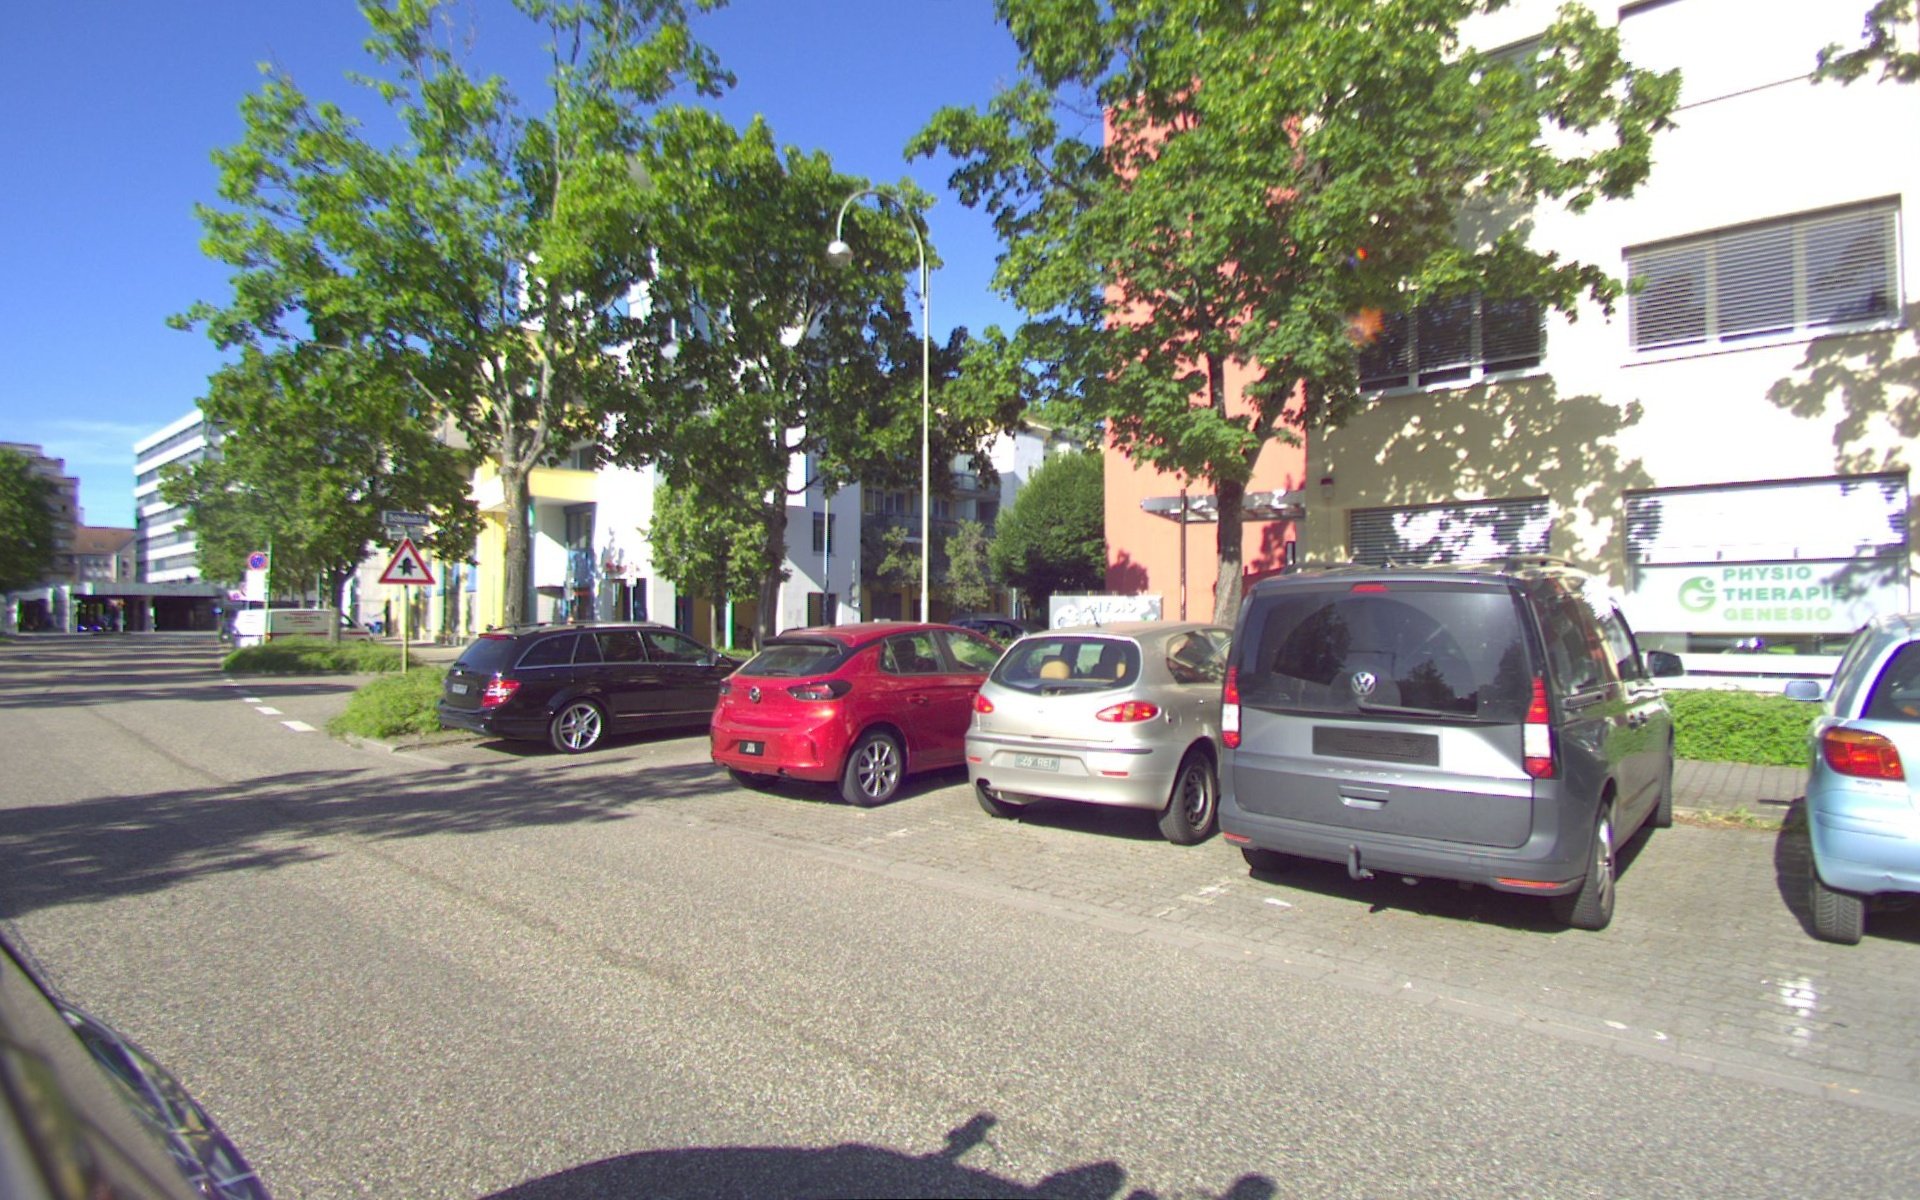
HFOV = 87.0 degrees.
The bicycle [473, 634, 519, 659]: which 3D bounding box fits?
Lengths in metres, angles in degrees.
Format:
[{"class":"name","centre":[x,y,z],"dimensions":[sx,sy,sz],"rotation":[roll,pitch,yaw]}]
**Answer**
[{"class":"bicycle","centre":[-21.236,2.117,46.320],"dimensions":[1.774,1.106,0.703],"rotation":[2,-3,-36]}]

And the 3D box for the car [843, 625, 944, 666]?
[{"class":"car","centre":[-2.813,1.916,43.579],"dimensions":[1.999,1.606,4.191],"rotation":[-3,-2,40]}]

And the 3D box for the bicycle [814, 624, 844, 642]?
[{"class":"bicycle","centre":[-6.481,1.639,50.245],"dimensions":[0.287,0.878,1.780],"rotation":[-1,-2,39]}]

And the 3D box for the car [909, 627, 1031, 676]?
[{"class":"car","centre":[0.369,1.690,33.494],"dimensions":[1.935,1.461,3.954],"rotation":[-5,-4,40]}]

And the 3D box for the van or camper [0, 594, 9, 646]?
[{"class":"van or camper","centre":[-58.134,0.984,57.258],"dimensions":[5.904,3.007,2.676],"rotation":[5,-4,-38]}]

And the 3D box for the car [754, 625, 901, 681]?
[{"class":"car","centre":[-3.683,1.484,28.642],"dimensions":[1.802,1.458,3.941],"rotation":[-5,-4,40]}]

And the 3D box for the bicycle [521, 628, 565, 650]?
[{"class":"bicycle","centre":[-17.780,1.668,43.189],"dimensions":[0.490,0.878,1.783],"rotation":[-1,-1,34]}]

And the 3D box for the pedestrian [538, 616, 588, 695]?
[{"class":"pedestrian","centre":[-8.938,1.233,22.796],"dimensions":[1.022,1.739,0.649],"rotation":[-1,-3,45]}]

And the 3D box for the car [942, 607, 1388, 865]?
[{"class":"car","centre":[1.793,0.817,7.916],"dimensions":[1.738,1.434,3.851],"rotation":[-2,0,41]}]

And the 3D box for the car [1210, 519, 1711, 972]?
[{"class":"car","centre":[3.249,0.582,6.135],"dimensions":[1.785,1.825,3.851],"rotation":[-2,-1,41]}]

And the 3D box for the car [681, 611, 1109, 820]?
[{"class":"car","centre":[-0.418,0.871,9.359],"dimensions":[1.738,1.434,3.851],"rotation":[-2,0,41]}]

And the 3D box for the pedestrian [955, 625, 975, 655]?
[{"class":"pedestrian","centre":[0.240,2.005,50.891],"dimensions":[0.680,1.500,0.837],"rotation":[-1,-2,33]}]

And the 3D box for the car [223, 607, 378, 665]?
[{"class":"car","centre":[-24.712,1.311,38.169],"dimensions":[1.983,2.000,4.743],"rotation":[-2,-1,17]}]

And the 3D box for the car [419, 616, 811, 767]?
[{"class":"car","centre":[-4.051,0.965,12.393],"dimensions":[1.740,1.434,4.215],"rotation":[-2,-1,44]}]

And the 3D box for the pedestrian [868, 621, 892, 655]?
[{"class":"pedestrian","centre":[-3.693,1.738,46.704],"dimensions":[0.719,1.525,0.788],"rotation":[-1,0,39]}]

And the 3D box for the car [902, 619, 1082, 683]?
[{"class":"car","centre":[0.758,1.244,24.787],"dimensions":[4.115,1.454,1.721],"rotation":[-2,-3,30]}]

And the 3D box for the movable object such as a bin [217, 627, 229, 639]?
[{"class":"movable object such as a bin","centre":[-69.908,3.150,96.013],"dimensions":[0.665,1.082,0.804],"rotation":[0,-2,-12]}]

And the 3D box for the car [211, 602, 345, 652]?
[{"class":"car","centre":[-35.440,1.340,52.784],"dimensions":[2.175,2.455,5.456],"rotation":[-2,-1,26]}]

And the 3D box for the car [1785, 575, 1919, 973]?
[{"class":"car","centre":[5.472,0.661,5.131],"dimensions":[1.858,1.586,3.851],"rotation":[-2,0,41]}]
